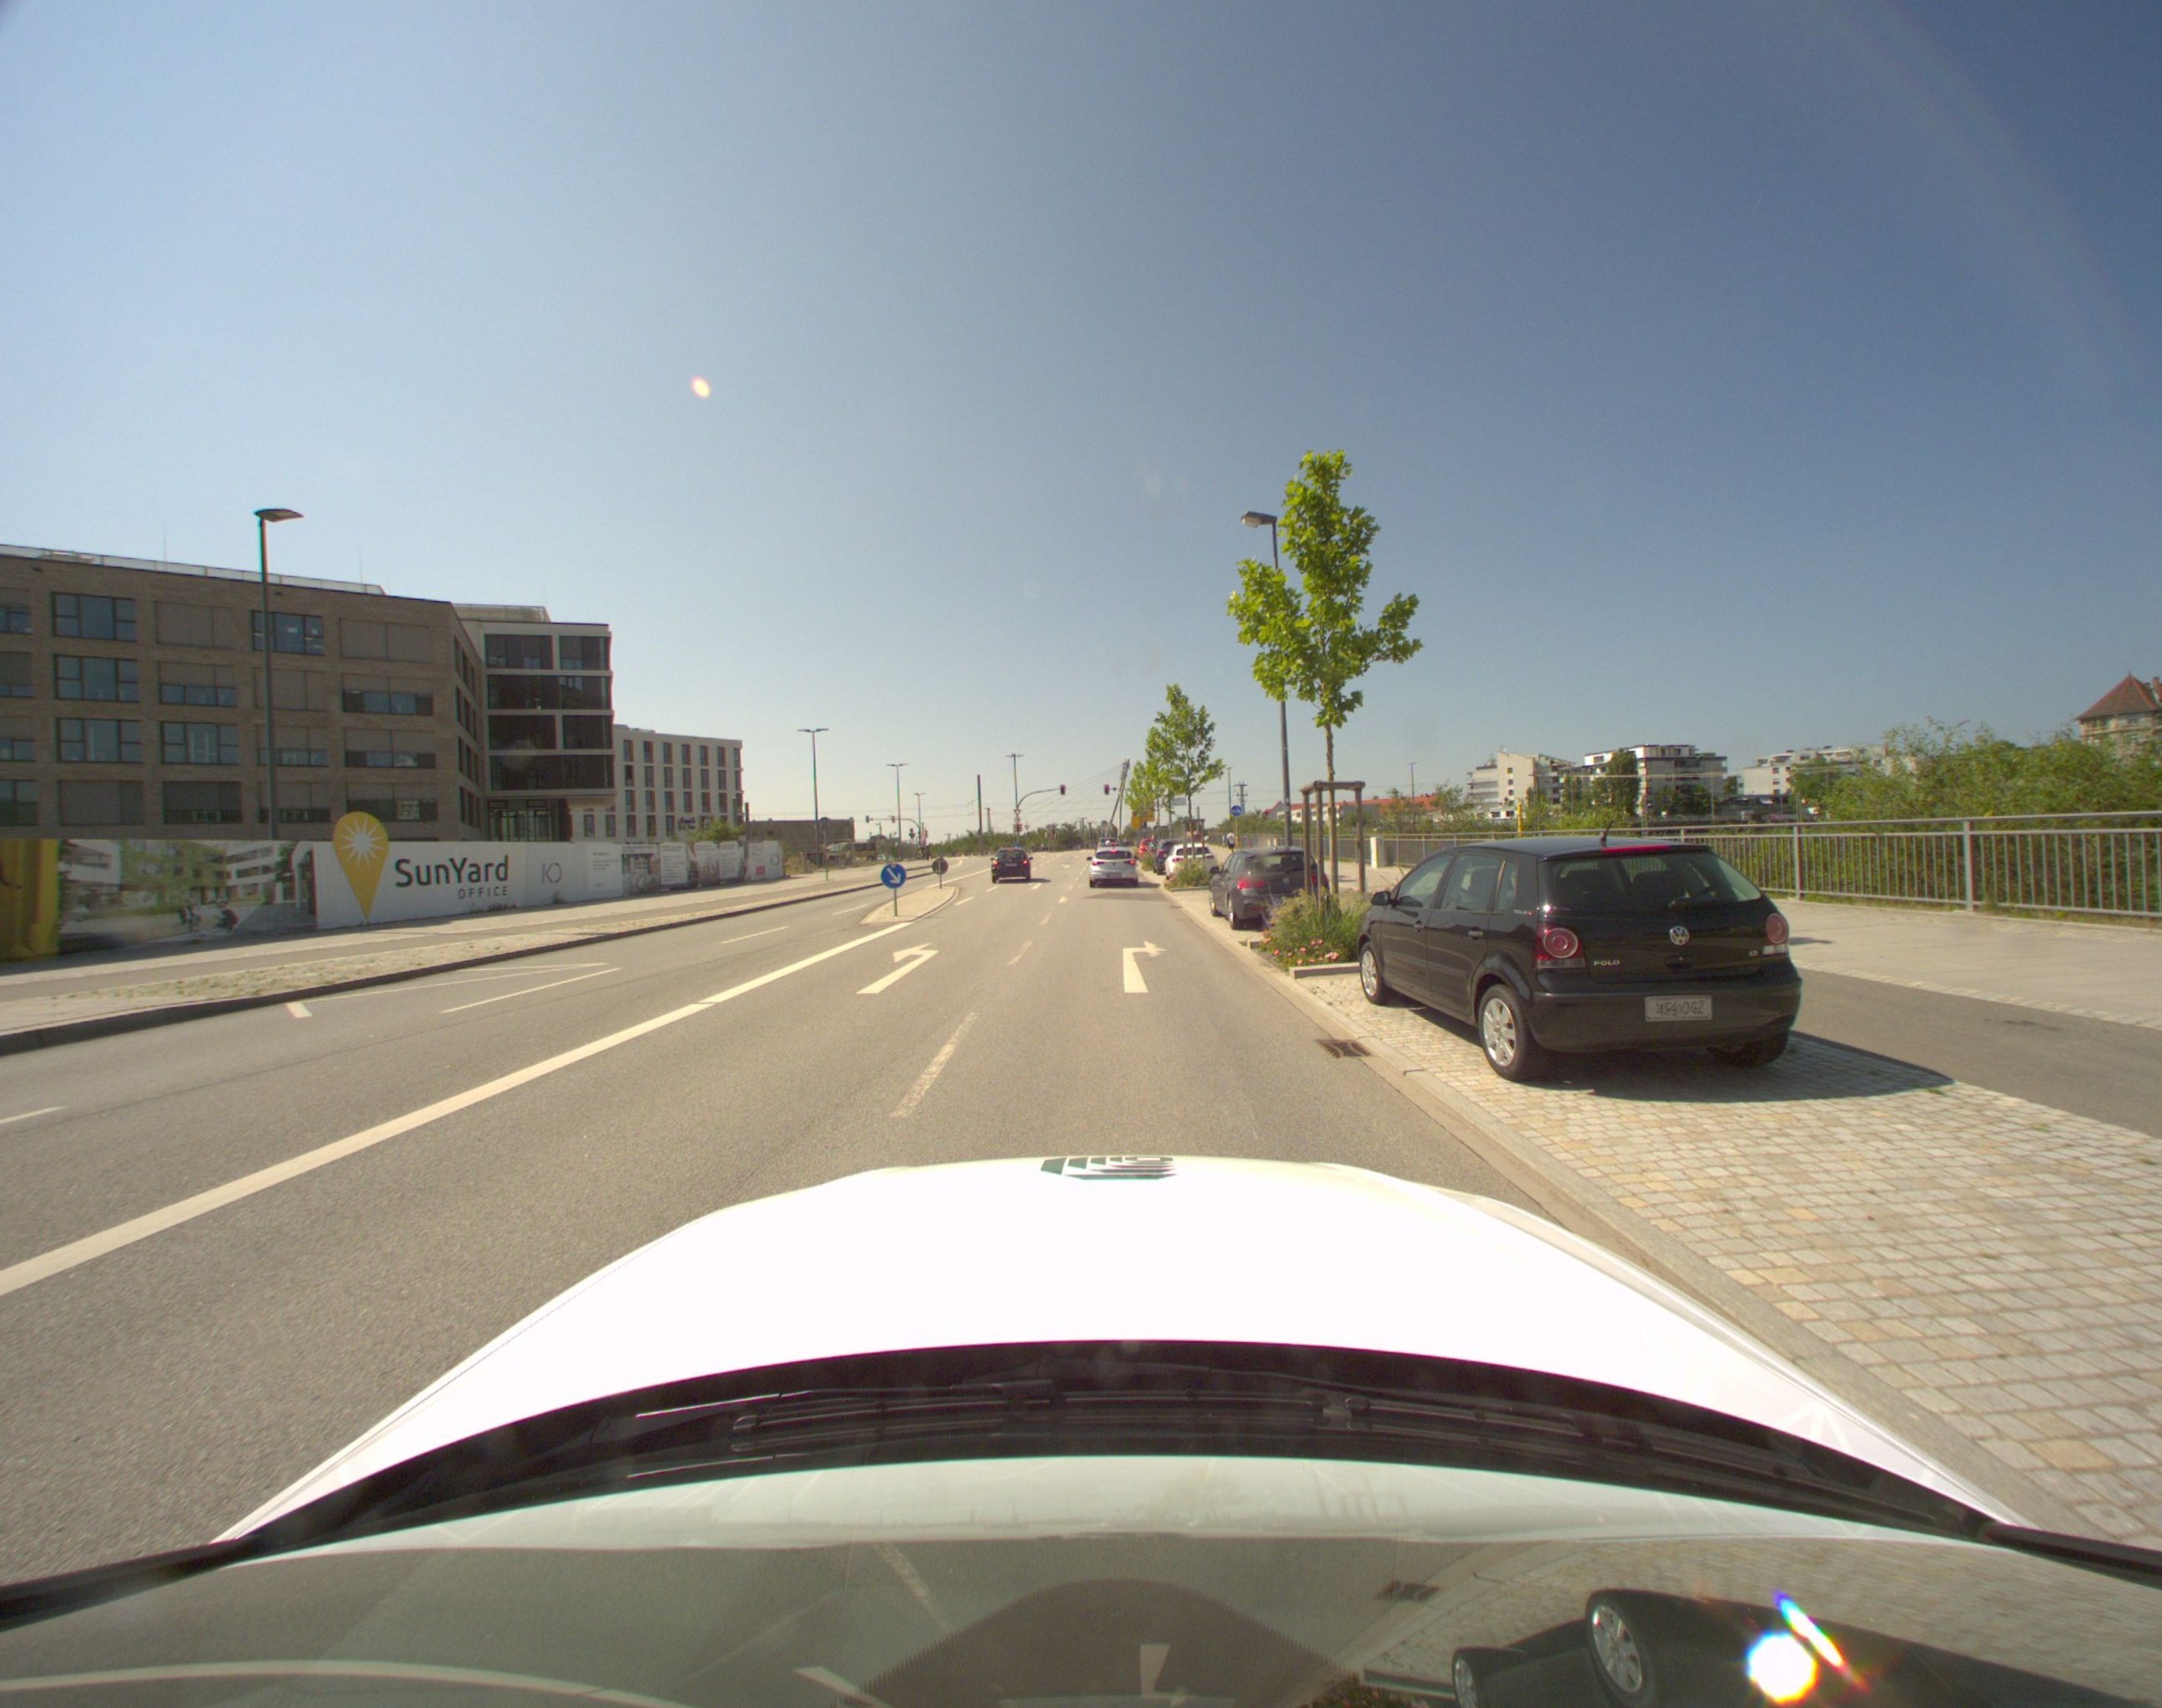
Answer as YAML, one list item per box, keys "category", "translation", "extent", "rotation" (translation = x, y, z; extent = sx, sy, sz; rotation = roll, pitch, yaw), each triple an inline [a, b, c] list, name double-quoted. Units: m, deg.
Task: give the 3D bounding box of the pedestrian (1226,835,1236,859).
- category: "pedestrian"
  translation: [9.789, -0.443, 53.168]
  extent: [0.531, 1.575, 0.524]
  rotation: [-1, -1, 2]

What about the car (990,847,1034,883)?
- category: "car"
  translation: [-2.914, 0.432, 35.033]
  extent: [1.614, 1.416, 3.726]
  rotation: [-1, 0, -1]

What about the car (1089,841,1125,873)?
- category: "car"
  translation: [1.414, 0.120, 43.488]
  extent: [1.771, 1.568, 4.002]
  rotation: [-2, 1, 2]

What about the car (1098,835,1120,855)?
- category: "car"
  translation: [2.419, -0.786, 69.812]
  extent: [1.771, 1.568, 4.002]
  rotation: [-2, 1, 2]

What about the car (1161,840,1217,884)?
- category: "car"
  translation: [4.111, 0.280, 31.479]
  extent: [1.690, 1.475, 4.208]
  rotation: [-3, 0, 2]

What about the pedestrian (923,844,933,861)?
- category: "pedestrian"
  translation: [-15.866, -0.155, 84.512]
  extent: [0.842, 1.646, 0.827]
  rotation: [-1, 0, -3]

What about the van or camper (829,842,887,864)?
- category: "van or camper"
  translation: [-20.066, -0.067, 73.406]
  extent: [1.975, 1.897, 4.745]
  rotation: [-2, -2, 44]

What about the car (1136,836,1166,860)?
- category: "car"
  translation: [4.779, -0.404, 55.955]
  extent: [1.771, 1.503, 4.002]
  rotation: [-3, 0, 2]

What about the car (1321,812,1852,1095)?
- category: "car"
  translation: [3.392, 0.580, 6.503]
  extent: [1.699, 1.462, 3.953]
  rotation: [-4, -1, 0]

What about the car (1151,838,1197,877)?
- category: "car"
  translation: [4.296, 0.118, 37.989]
  extent: [1.815, 1.616, 3.614]
  rotation: [-4, 1, 3]

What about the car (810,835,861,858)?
- category: "car"
  translation: [-22.794, -0.743, 75.621]
  extent: [1.974, 2.013, 4.025]
  rotation: [-1, 0, 40]

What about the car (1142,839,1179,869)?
- category: "car"
  translation: [4.622, -0.006, 47.606]
  extent: [1.771, 1.503, 4.002]
  rotation: [-6, 0, 2]

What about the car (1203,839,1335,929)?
- category: "car"
  translation: [3.482, 0.520, 15.818]
  extent: [1.697, 1.401, 4.273]
  rotation: [-4, -1, 3]

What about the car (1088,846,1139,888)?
- category: "car"
  translation: [1.216, 0.444, 30.668]
  extent: [1.771, 1.442, 4.002]
  rotation: [-1, 0, 2]
